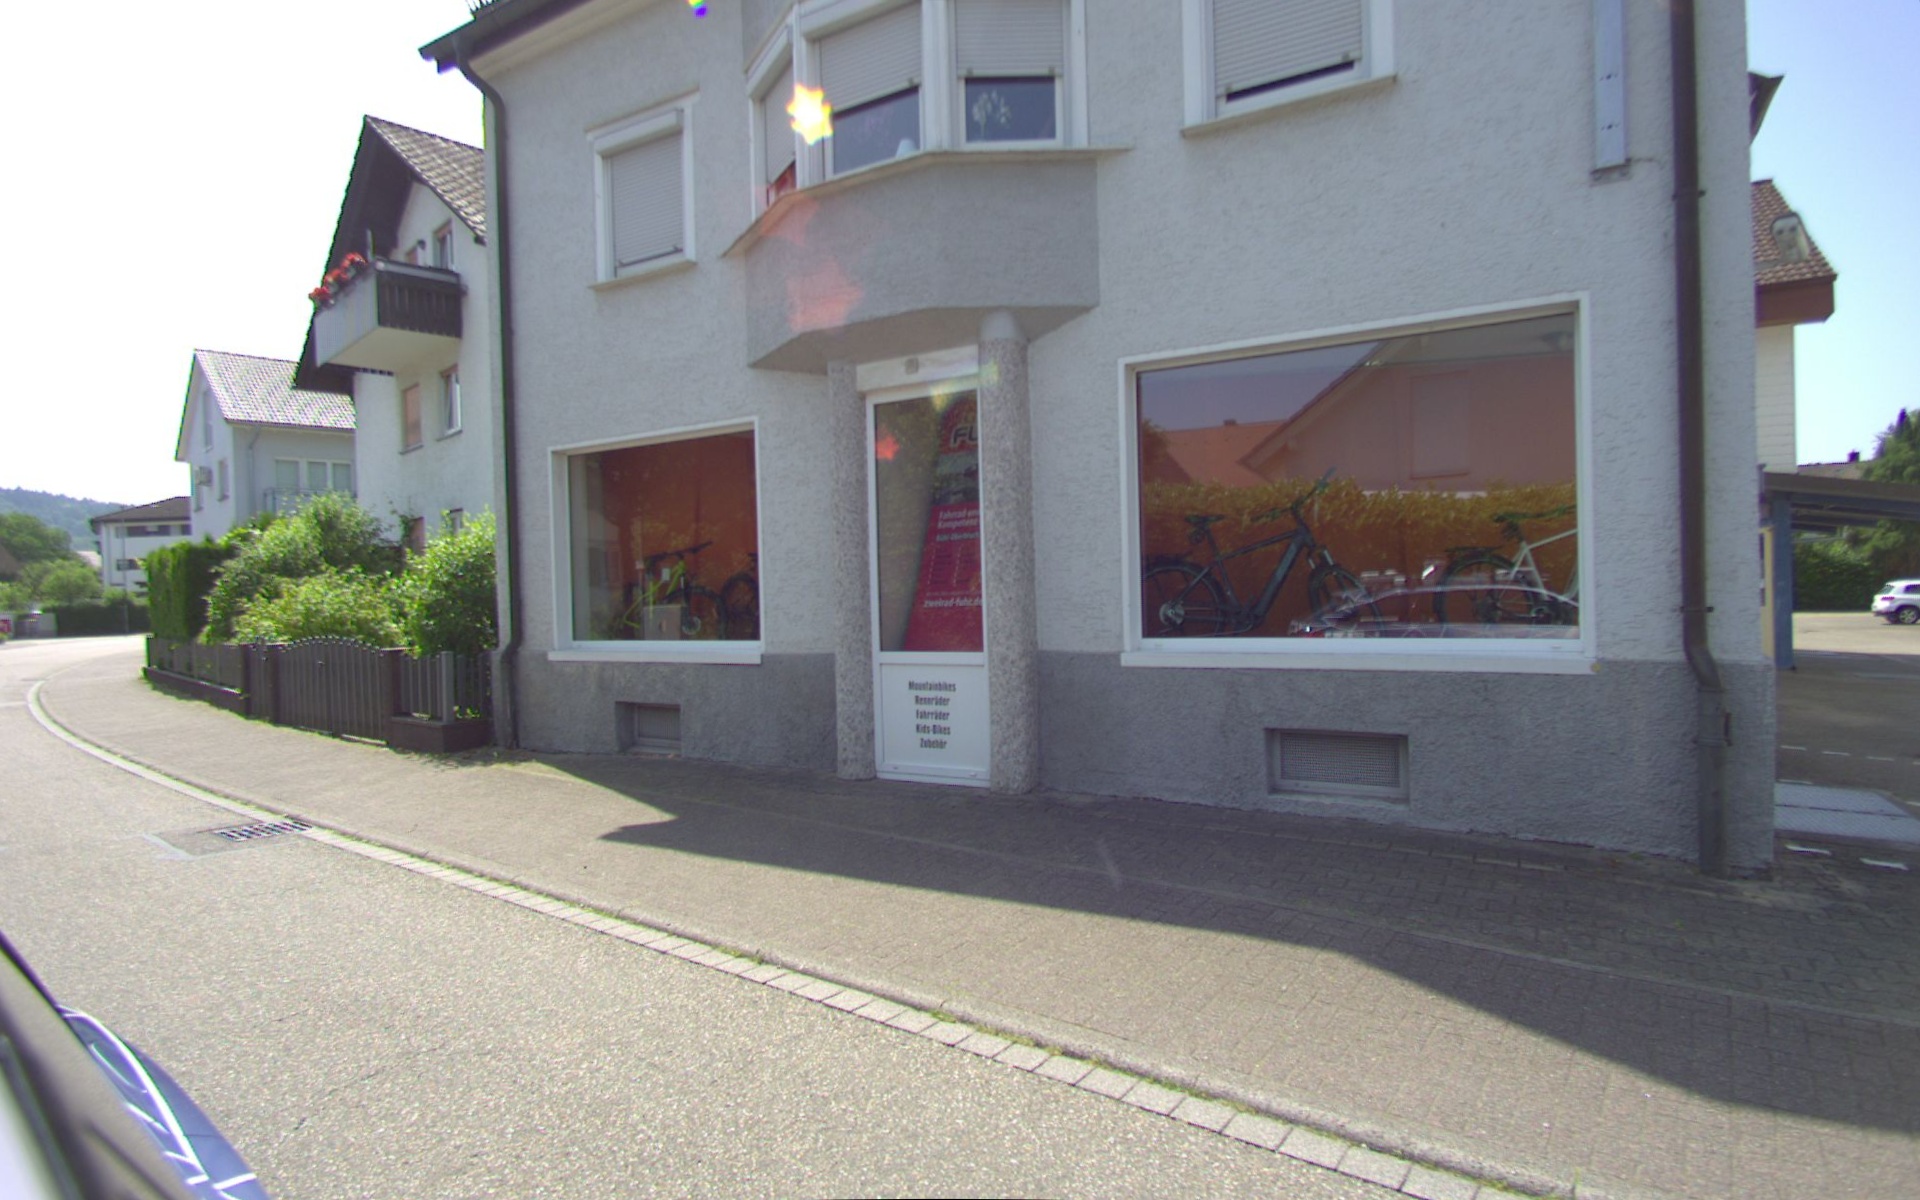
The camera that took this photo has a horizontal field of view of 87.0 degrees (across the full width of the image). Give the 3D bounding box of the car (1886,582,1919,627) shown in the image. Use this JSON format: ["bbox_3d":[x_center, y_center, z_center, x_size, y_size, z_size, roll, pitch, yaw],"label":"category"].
[{"bbox_3d":[37.757,0.150,38.225,3.998,1.714,1.973,-1,-1,41],"label":"car"}]
